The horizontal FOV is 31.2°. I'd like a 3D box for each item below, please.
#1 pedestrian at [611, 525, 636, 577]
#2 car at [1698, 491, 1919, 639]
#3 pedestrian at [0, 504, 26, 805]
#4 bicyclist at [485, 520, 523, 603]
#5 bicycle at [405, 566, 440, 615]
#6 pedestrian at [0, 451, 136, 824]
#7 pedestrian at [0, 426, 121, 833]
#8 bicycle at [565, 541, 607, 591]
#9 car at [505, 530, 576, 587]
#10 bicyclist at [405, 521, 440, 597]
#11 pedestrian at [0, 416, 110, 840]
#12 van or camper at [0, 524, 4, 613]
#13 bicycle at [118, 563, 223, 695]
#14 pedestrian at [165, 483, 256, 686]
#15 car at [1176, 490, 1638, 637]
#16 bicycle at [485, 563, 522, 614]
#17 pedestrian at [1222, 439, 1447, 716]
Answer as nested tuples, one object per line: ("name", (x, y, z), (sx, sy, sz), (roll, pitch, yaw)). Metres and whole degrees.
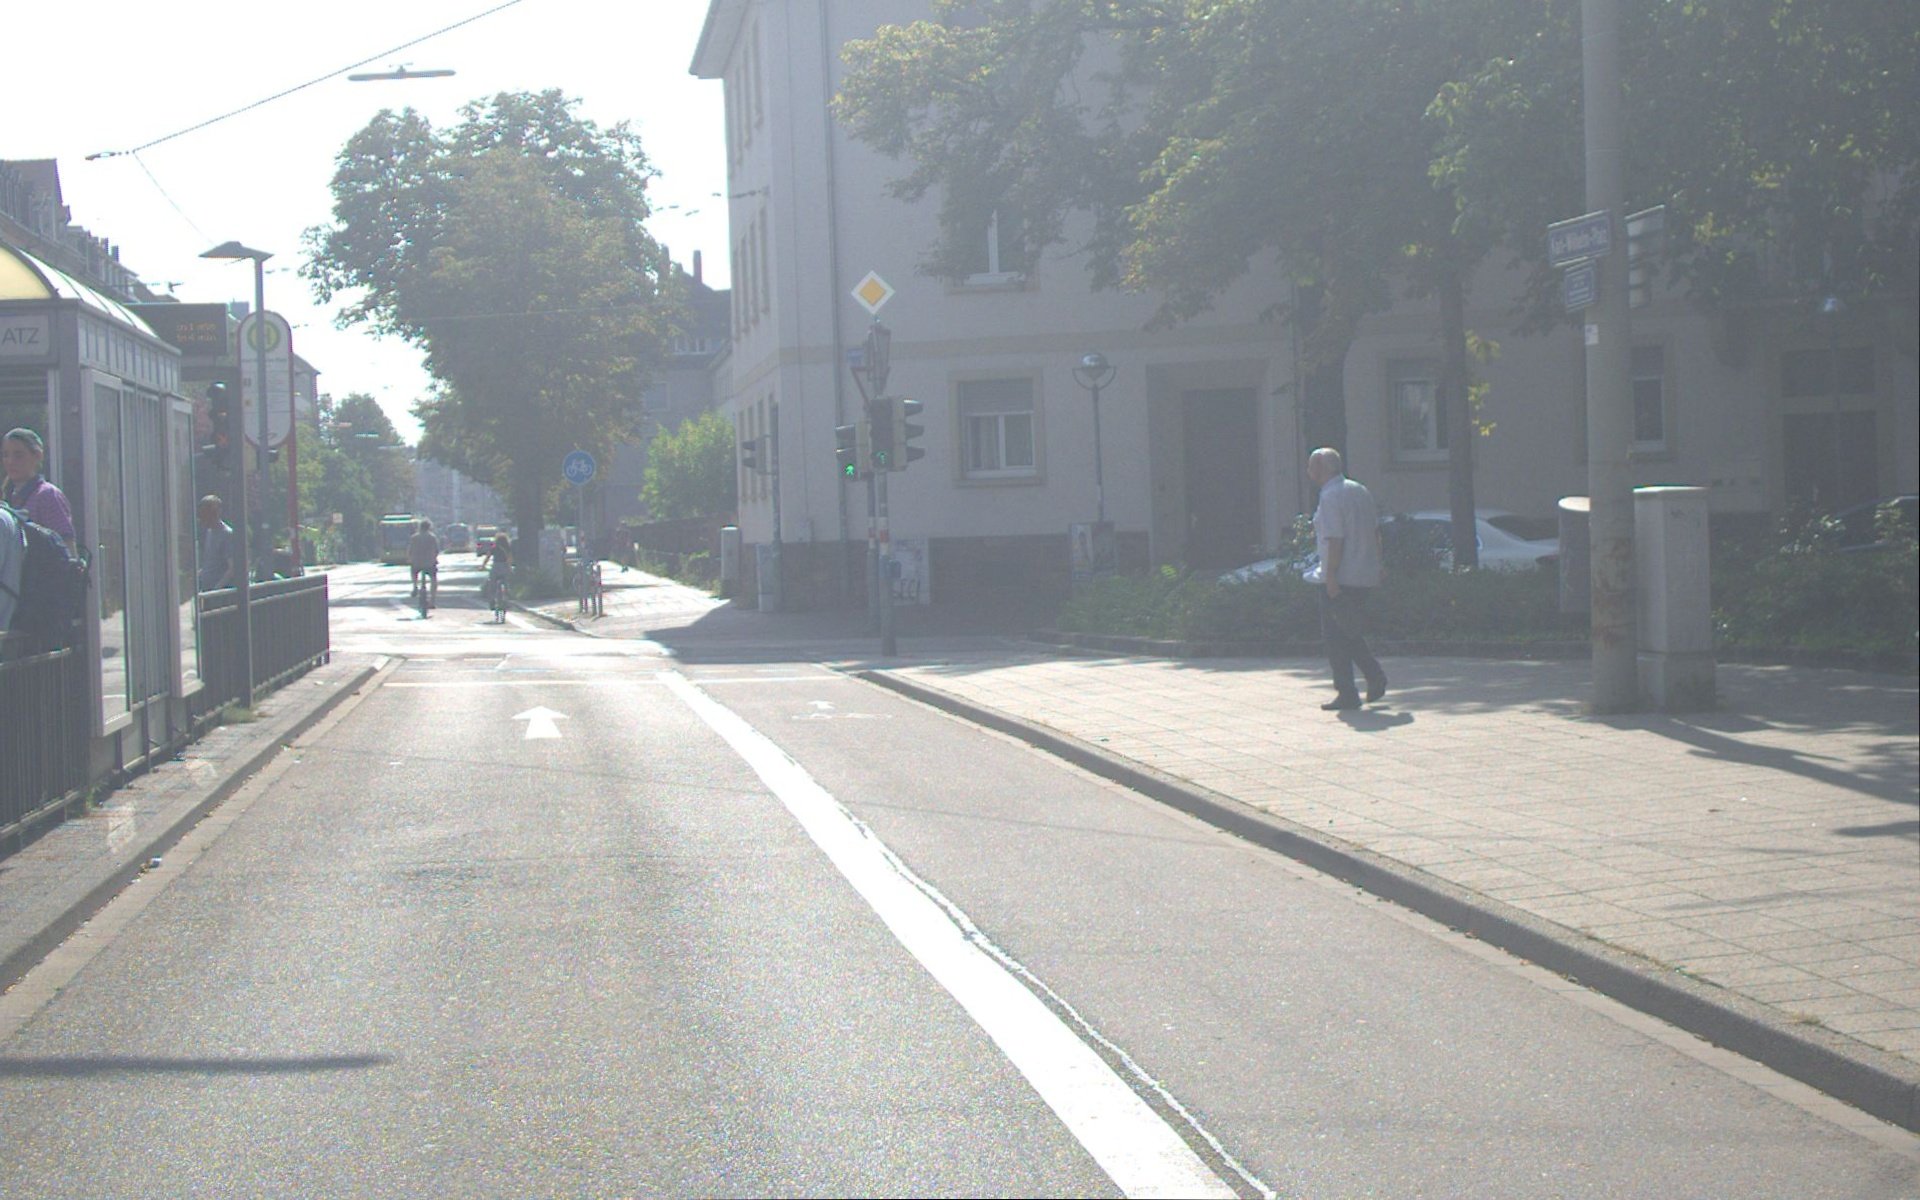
("pedestrian", (-11.547, -1.674, 117.949), (0.752, 1.743, 0.878), (-2, 1, 0))
("car", (9.870, -0.385, 35.970), (1.747, 1.446, 3.888), (-5, 3, -41))
("pedestrian", (-5.236, 0.282, 17.863), (0.589, 1.539, 0.607), (-2, 1, -5))
("bicyclist", (-8.174, -0.691, 61.615), (0.654, 1.469, 0.909), (0, 1, -8))
("bicycle", (-10.038, -0.185, 64.228), (0.626, 0.906, 1.525), (0, 1, -8))
("pedestrian", (-4.374, 0.173, 16.678), (0.589, 1.758, 0.607), (-2, 1, -5))
("pedestrian", (-4.308, 0.131, 15.981), (0.636, 1.841, 0.634), (-2, 1, -5))
("bicycle", (-8.484, -0.783, 77.941), (0.771, 1.100, 2.334), (-2, 1, -9))
("car", (-12.346, -1.237, 101.389), (1.645, 1.535, 3.842), (-4, 1, -1))
("bicyclist", (-10.034, -0.765, 64.232), (0.626, 1.396, 0.929), (0, 1, -8))
("pedestrian", (-4.195, 0.120, 15.317), (0.636, 1.841, 0.634), (-2, 1, -5))
("van or camper", (-23.377, -0.931, 77.151), (2.050, 2.635, 6.090), (-2, 1, 0))
("bicycle", (-7.035, 0.243, 30.693), (0.472, 1.100, 1.737), (-2, 1, 1))
("pedestrian", (-6.672, -0.144, 30.634), (0.689, 1.760, 0.796), (-2, 1, -8))
("car", (5.166, -0.412, 39.990), (4.947, 1.464, 1.873), (-1, 4, 34))
("bicycle", (-8.184, -0.214, 61.634), (0.654, 0.906, 1.775), (0, 1, -8))
("pedestrian", (2.491, -0.155, 22.836), (0.968, 1.718, 1.078), (-4, 2, 34))
